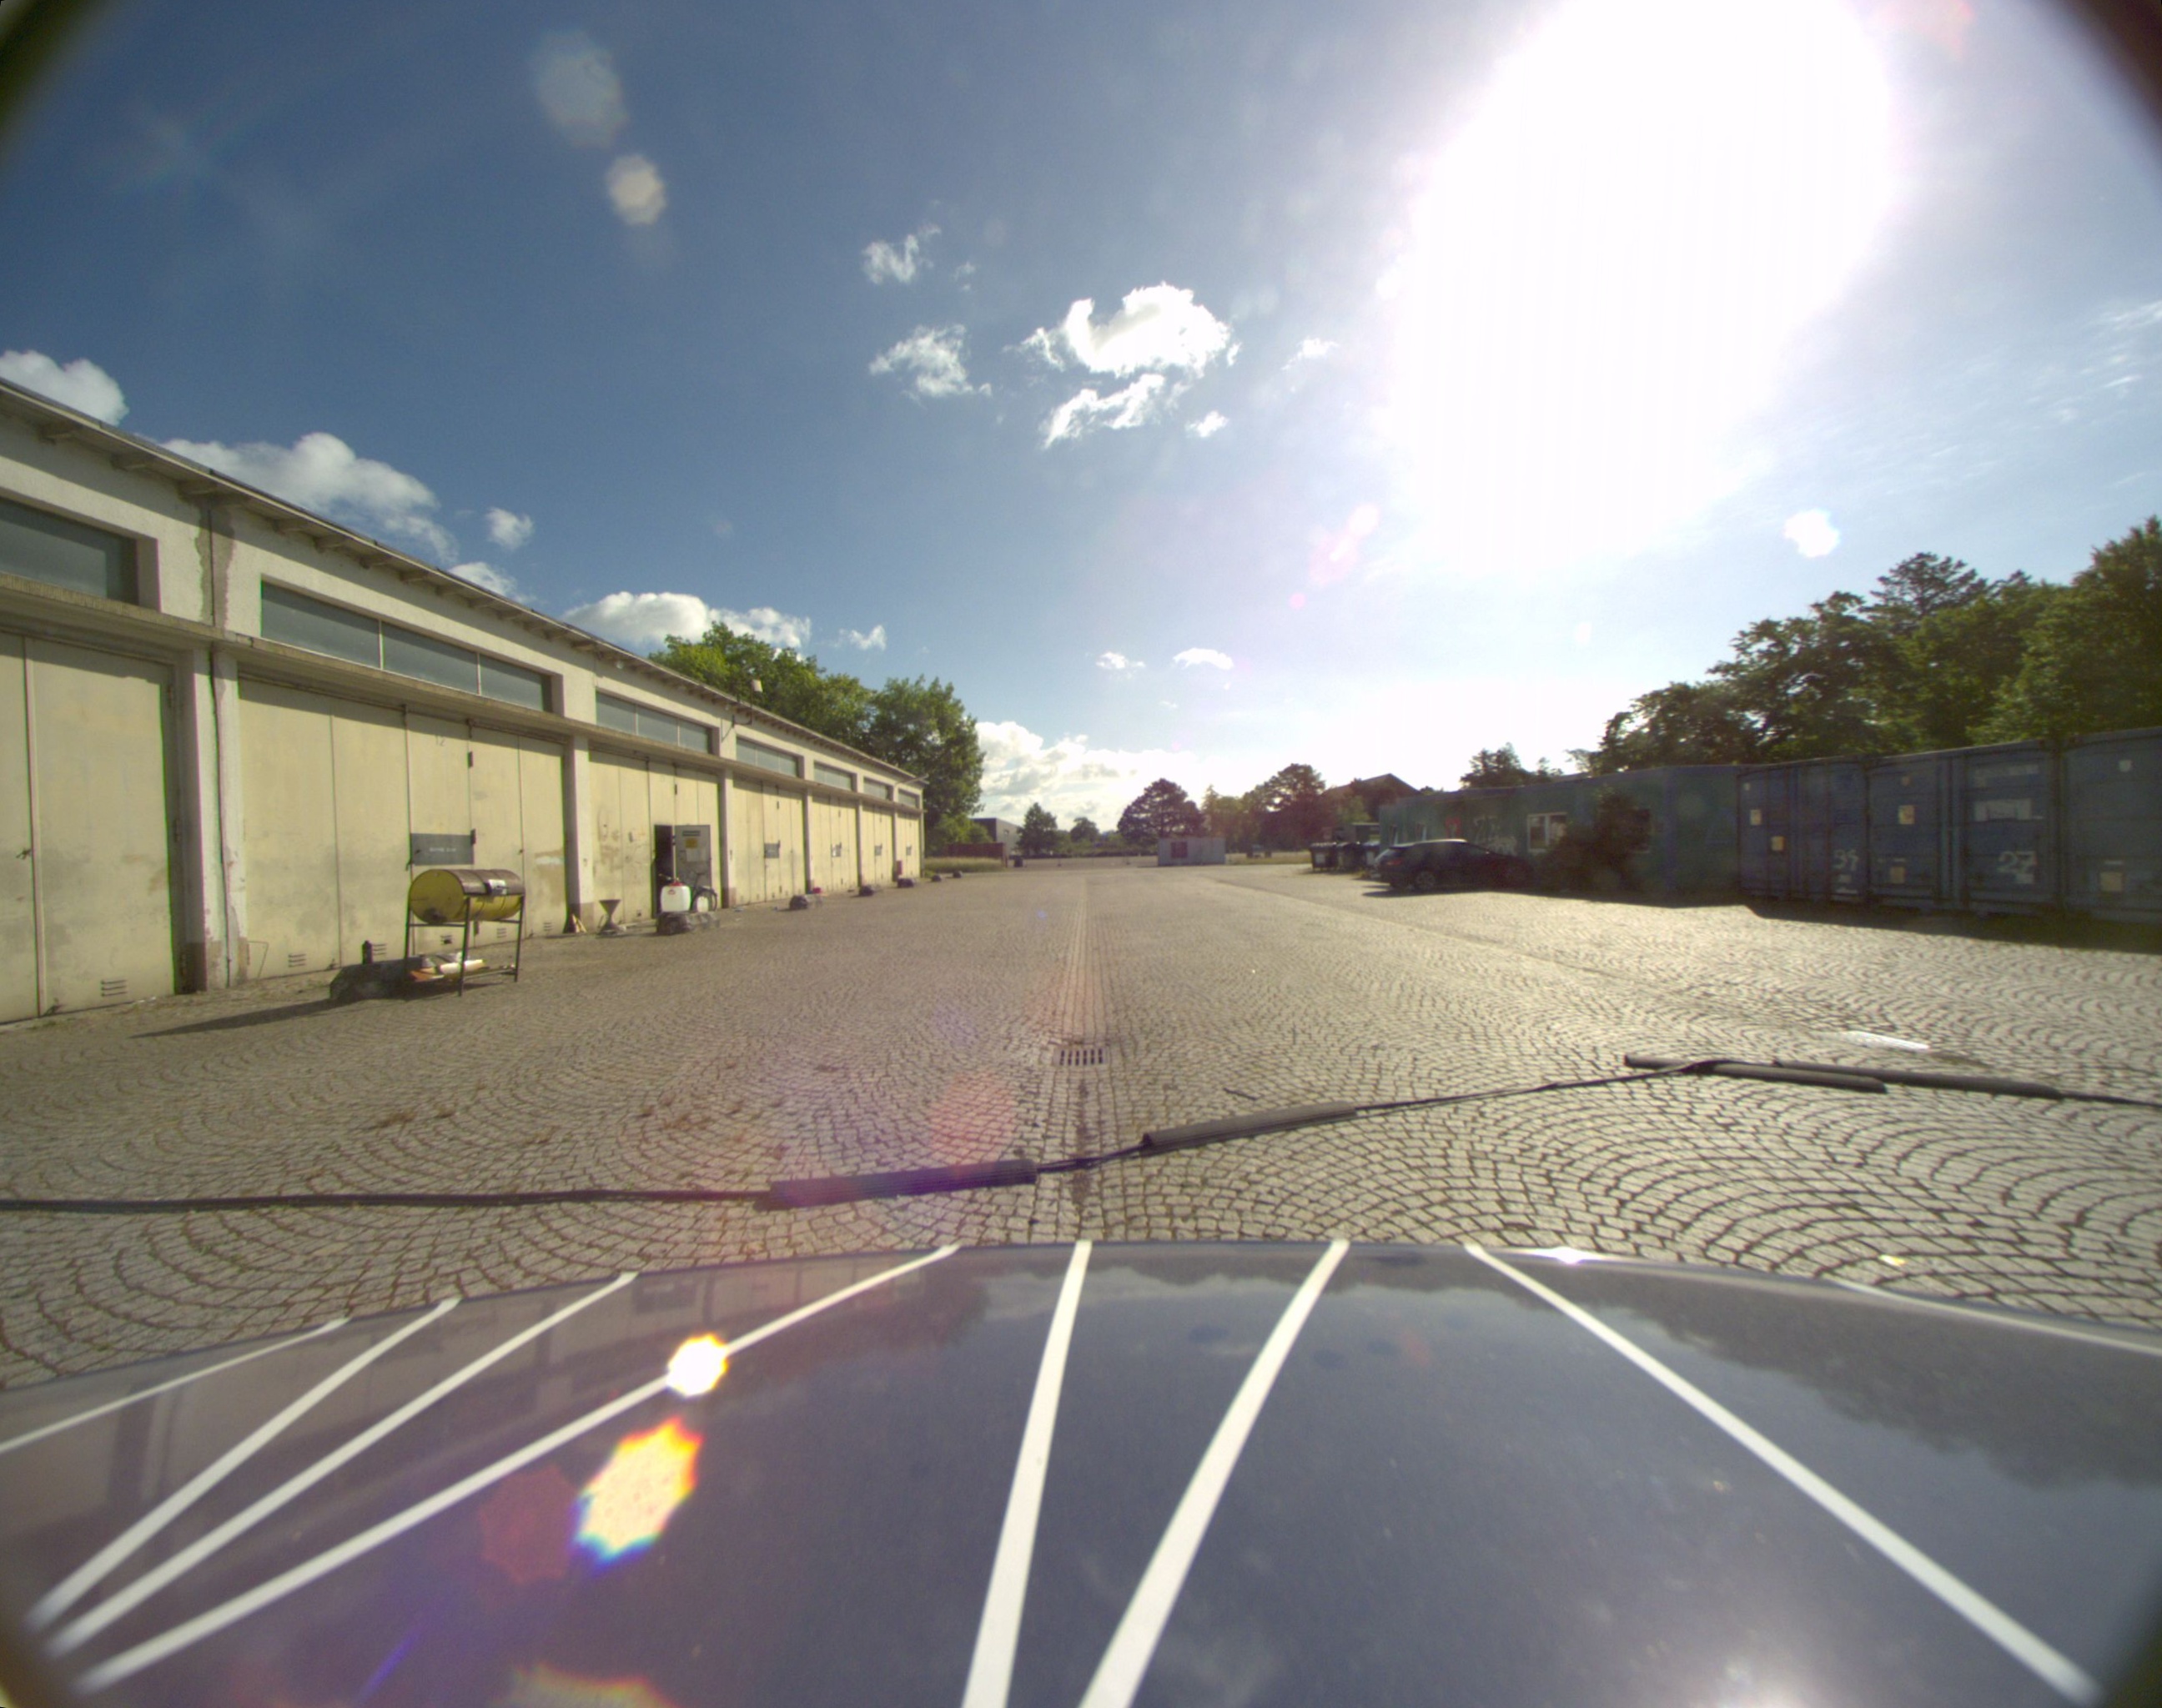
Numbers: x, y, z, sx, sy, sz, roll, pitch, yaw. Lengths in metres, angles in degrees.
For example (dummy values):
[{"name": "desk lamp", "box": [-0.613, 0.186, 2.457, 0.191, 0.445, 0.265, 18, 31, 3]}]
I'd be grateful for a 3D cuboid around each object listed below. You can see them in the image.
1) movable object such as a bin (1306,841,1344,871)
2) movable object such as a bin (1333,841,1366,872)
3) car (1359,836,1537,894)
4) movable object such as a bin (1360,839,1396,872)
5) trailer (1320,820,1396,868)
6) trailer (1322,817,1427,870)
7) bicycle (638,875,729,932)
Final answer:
[{"name": "movable object such as a bin", "box": [12.430, 0.124, 38.717, 1.434, 1.450, 1.158, -1, 2, 43]}, {"name": "movable object such as a bin", "box": [12.912, 0.099, 36.603, 1.020, 1.449, 1.440, -2, 1, 0]}, {"name": "car", "box": [10.681, 0.293, 22.341, 4.263, 1.441, 1.931, -3, 1, -2]}, {"name": "movable object such as a bin", "box": [13.653, 0.053, 34.919, 0.885, 1.449, 1.439, -3, 1, -10]}, {"name": "trailer", "box": [15.372, -0.550, 42.291, 3.393, 2.456, 2.044, -2, 2, 1]}, {"name": "trailer", "box": [15.330, -0.559, 39.841, 4.649, 2.553, 1.950, -3, 2, -4]}, {"name": "bicycle", "box": [-8.554, 1.046, 16.450, 0.665, 1.062, 1.825, -2, 1, 13]}]
